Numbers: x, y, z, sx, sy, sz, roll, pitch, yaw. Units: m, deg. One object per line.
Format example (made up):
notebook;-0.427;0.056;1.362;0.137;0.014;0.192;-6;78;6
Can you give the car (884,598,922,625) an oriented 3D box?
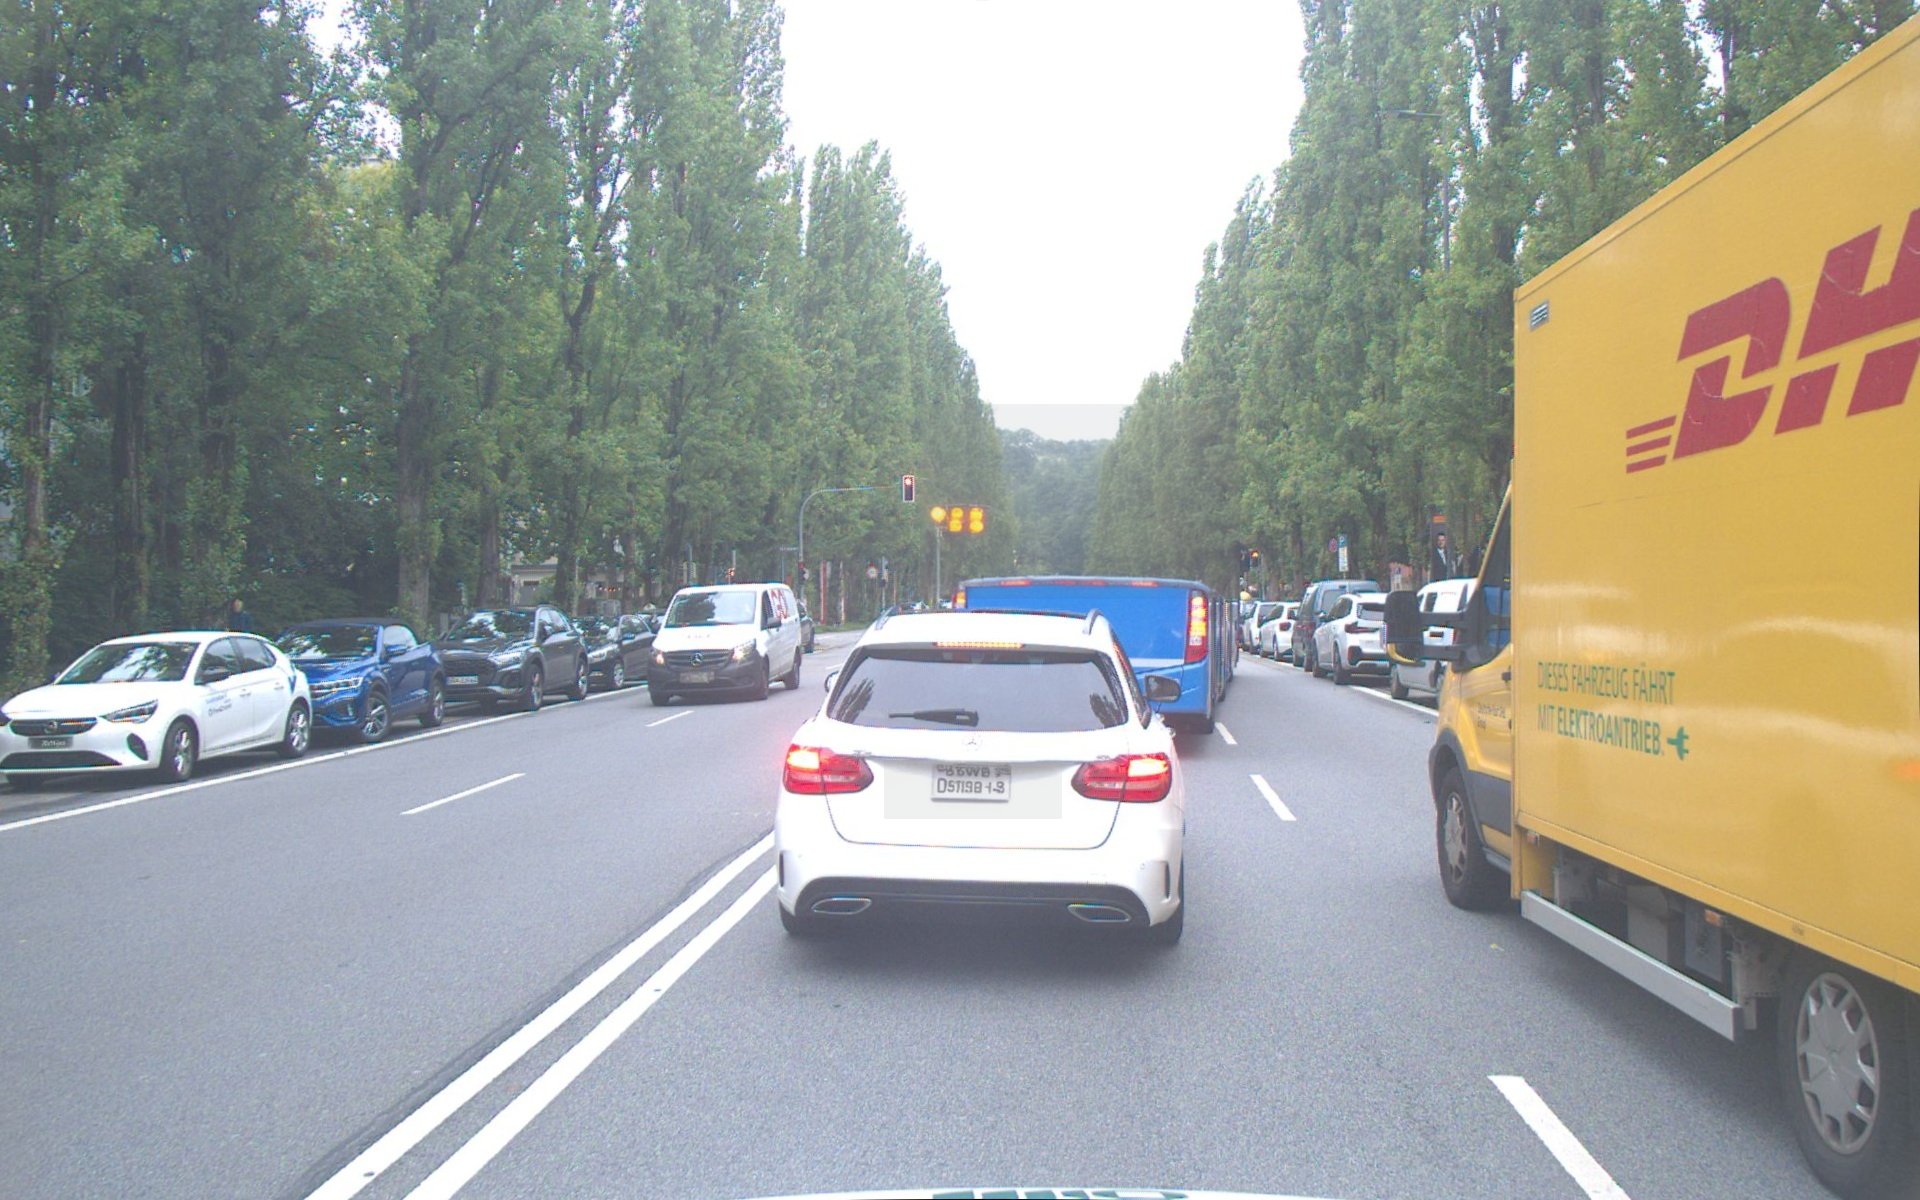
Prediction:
car;-3.233;0.645;94.554;1.783;1.512;4.002;-1;0;3

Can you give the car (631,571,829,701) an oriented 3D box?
car;-3.808;0.555;28.612;2.137;1.924;5.699;-3;0;5

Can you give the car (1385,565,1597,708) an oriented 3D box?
car;7.390;0.464;23.454;1.795;1.804;4.232;1;0;3

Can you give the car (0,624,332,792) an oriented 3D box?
car;-8.292;1.035;17.351;1.650;1.437;4.006;-3;0;3

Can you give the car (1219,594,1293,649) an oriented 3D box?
car;9.334;0.661;52.452;1.771;1.646;4.001;-1;0;3

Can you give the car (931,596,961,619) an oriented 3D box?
car;-0.940;0.512;113.622;1.783;1.512;4.002;-1;0;3

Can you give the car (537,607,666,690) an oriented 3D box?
car;-7.168;0.929;33.422;1.507;1.458;3.871;-4;0;3

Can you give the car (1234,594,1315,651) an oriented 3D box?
car;8.946;0.613;47.301;1.748;1.518;4.002;-1;0;3

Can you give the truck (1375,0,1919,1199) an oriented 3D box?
truck;3.374;-0.015;5.815;2.279;2.949;7.335;-1;0;3

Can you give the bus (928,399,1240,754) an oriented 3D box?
bus;1.891;-0.239;19.916;2.794;3.270;9.068;0;0;10

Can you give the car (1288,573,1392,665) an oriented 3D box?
car;8.179;0.380;35.909;1.667;1.868;4.003;1;0;5

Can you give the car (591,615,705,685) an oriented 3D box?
car;-7.052;1.095;37.768;1.640;1.438;4.001;-1;0;3

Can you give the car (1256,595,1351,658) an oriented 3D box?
car;8.695;0.637;42.161;1.761;1.501;4.002;-1;0;3

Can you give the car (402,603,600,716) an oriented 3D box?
car;-7.413;0.904;27.165;1.754;1.575;4.340;-4;0;3

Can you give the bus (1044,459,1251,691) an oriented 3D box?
bus;3.564;-0.371;28.952;2.810;3.362;9.798;-1;0;11

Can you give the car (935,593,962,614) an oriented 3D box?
car;-0.837;0.225;122.970;1.783;1.512;4.002;-1;0;3

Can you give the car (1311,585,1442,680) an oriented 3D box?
car;7.625;0.550;30.622;1.642;1.624;4.089;1;0;4

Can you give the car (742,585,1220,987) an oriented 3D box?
car;0.271;0.683;8.468;1.787;1.480;4.585;0;0;5

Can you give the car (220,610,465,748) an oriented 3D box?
car;-7.990;0.955;21.817;1.708;1.545;4.117;-3;0;-2

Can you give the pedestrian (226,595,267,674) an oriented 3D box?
pedestrian;-16.198;0.776;37.563;0.587;1.769;0.640;-1;0;4
